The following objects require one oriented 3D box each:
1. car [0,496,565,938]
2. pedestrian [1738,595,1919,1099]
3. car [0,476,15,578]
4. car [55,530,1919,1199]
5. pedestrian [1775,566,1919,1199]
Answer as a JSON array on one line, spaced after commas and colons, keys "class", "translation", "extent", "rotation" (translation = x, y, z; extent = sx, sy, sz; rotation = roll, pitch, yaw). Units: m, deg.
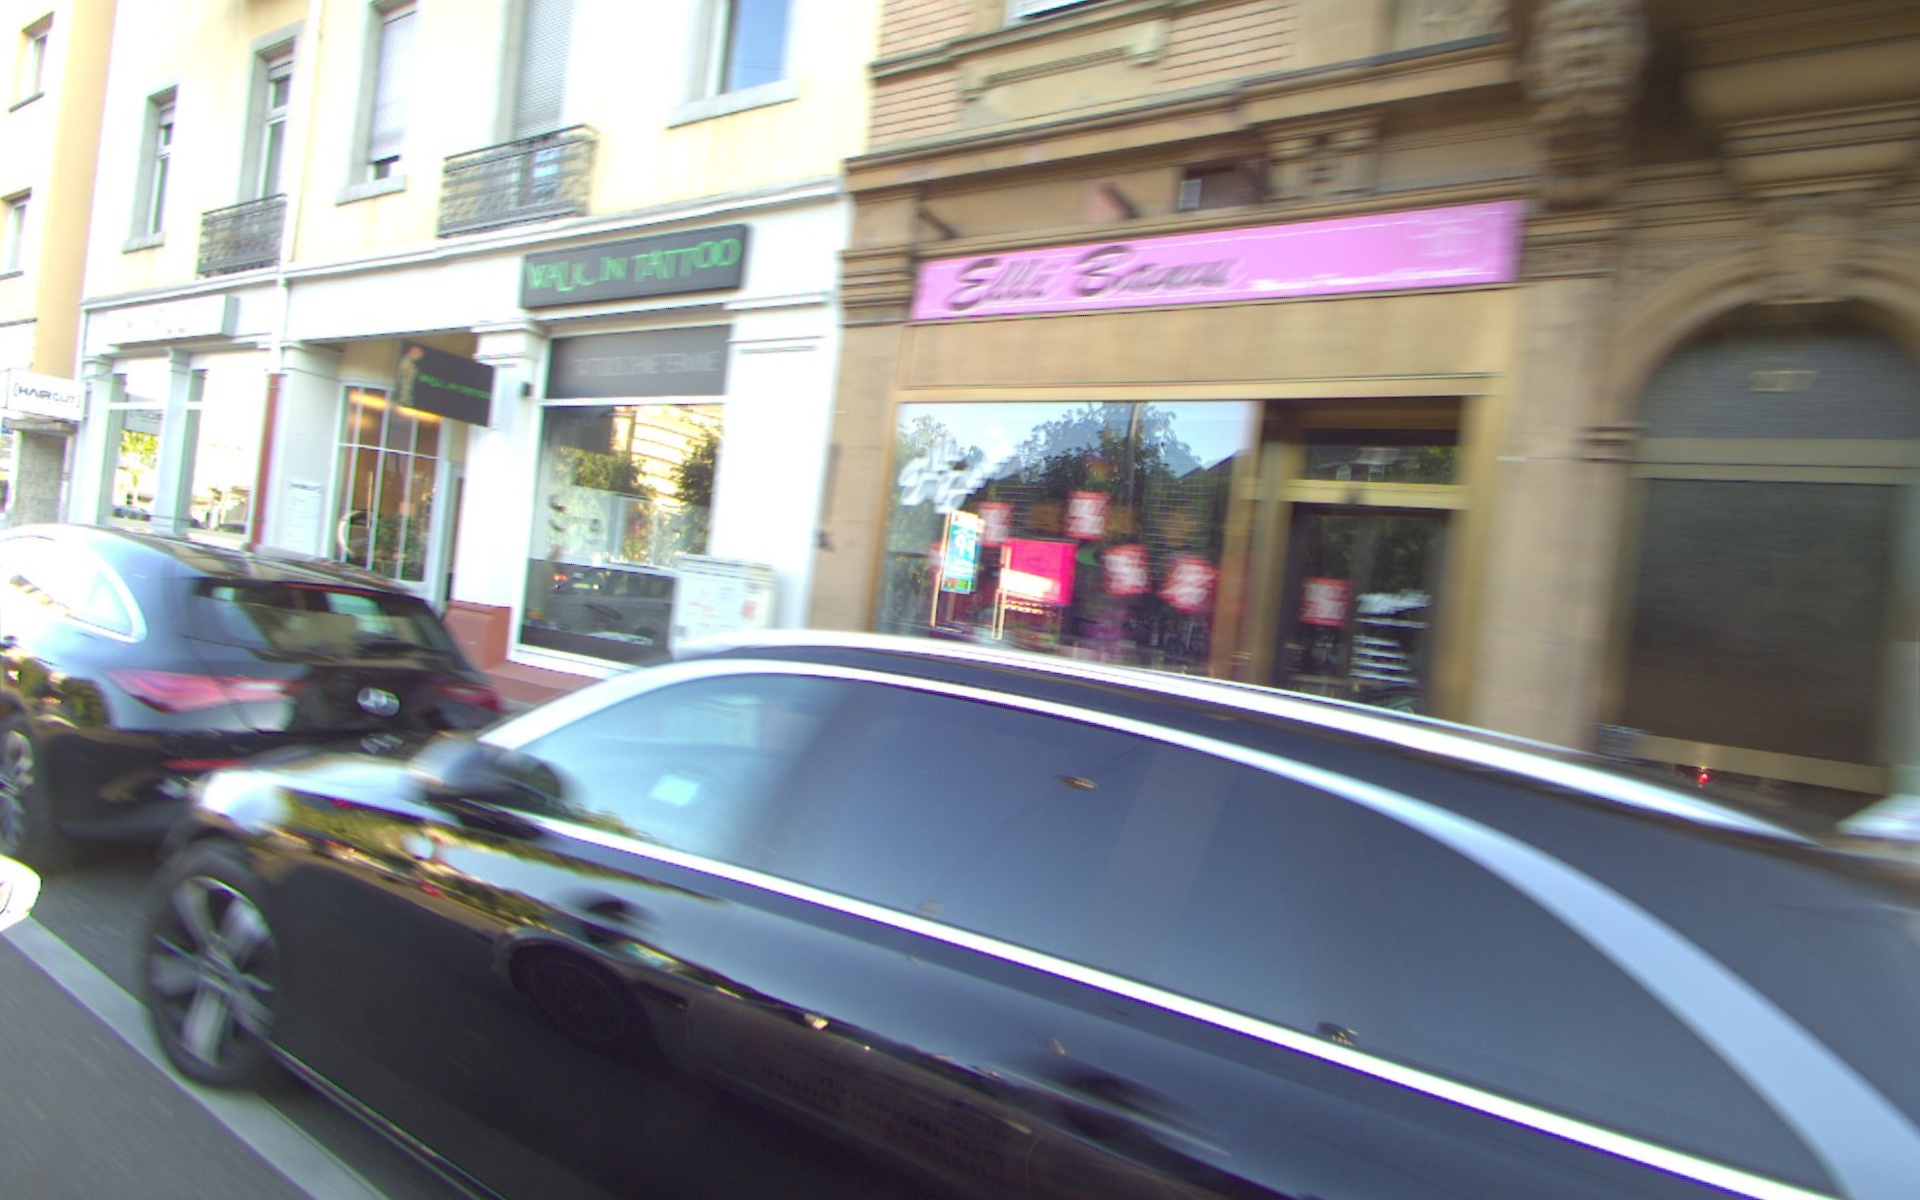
[{"class": "car", "translation": [-4.308, 0.328, 5.326], "extent": [4.401, 1.464, 1.733], "rotation": [6, -3, 32]}, {"class": "pedestrian", "translation": [3.727, 0.913, 3.766], "extent": [1.024, 1.734, 0.773], "rotation": [7, 2, 31]}, {"class": "car", "translation": [-9.477, -0.369, 7.992], "extent": [4.214, 1.669, 1.733], "rotation": [6, -3, 32]}, {"class": "car", "translation": [-0.322, 0.799, 2.594], "extent": [4.450, 1.464, 1.733], "rotation": [6, -3, 32]}, {"class": "pedestrian", "translation": [3.239, 0.890, 2.982], "extent": [0.994, 1.851, 0.773], "rotation": [7, 2, 31]}]
